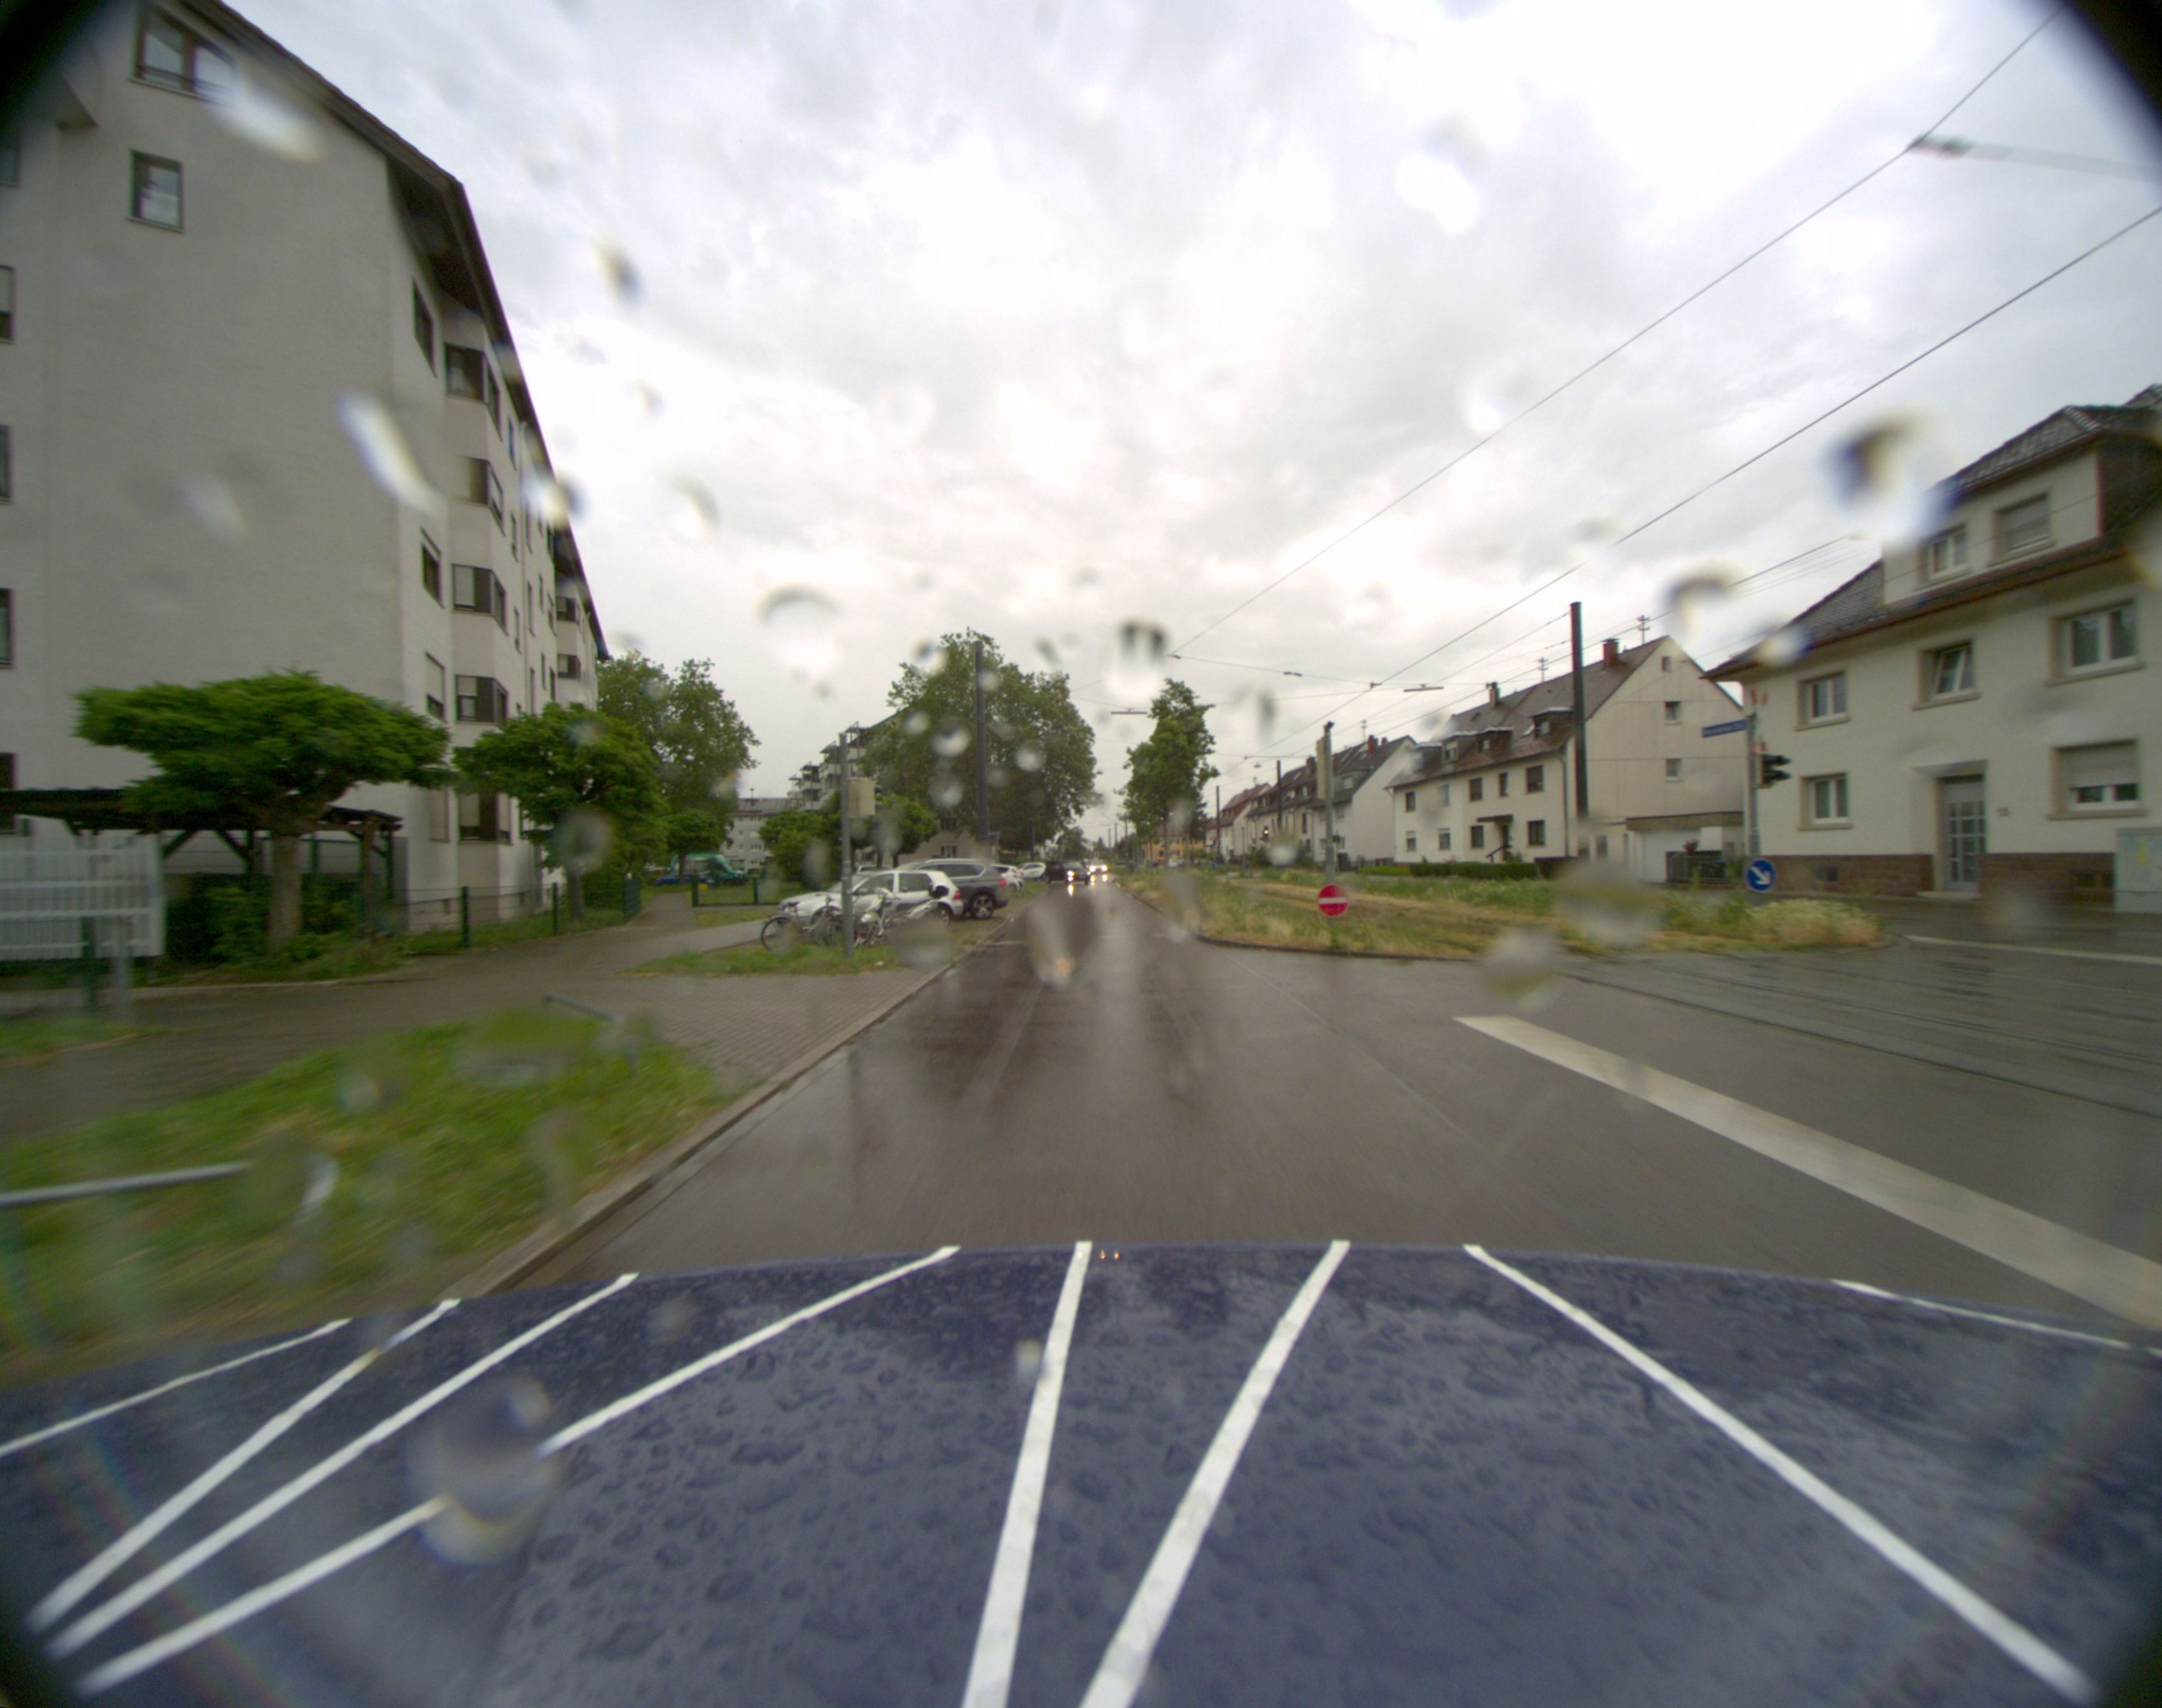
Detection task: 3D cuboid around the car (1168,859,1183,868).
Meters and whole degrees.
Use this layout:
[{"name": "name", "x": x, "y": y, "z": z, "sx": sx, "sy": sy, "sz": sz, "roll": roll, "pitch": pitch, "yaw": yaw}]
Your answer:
[{"name": "car", "x": 15.167, "y": 1.485, "z": 121.843, "sx": 1.715, "sy": 1.431, "sz": 3.999, "roll": 0, "pitch": 0, "yaw": -2}]

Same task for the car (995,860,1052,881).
[{"name": "car", "x": -4.609, "y": 1.290, "z": 60.766, "sx": 4.125, "sy": 1.500, "sz": 1.851, "roll": -2, "pitch": 0, "yaw": -26}]

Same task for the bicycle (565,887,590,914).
[{"name": "bicycle", "x": -17.363, "y": 1.600, "z": 26.228, "sx": 0.491, "sy": 0.843, "sz": 1.569, "roll": -1, "pitch": 0, "yaw": -25}]

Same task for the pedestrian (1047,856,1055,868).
[{"name": "pedestrian", "x": -4.341, "y": 1.134, "z": 109.873, "sx": 0.866, "sy": 1.764, "sz": 1.017, "roll": -1, "pitch": 0, "yaw": -22}]

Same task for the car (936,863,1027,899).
[{"name": "car", "x": -4.687, "y": 1.235, "z": 36.077, "sx": 4.008, "sy": 1.499, "sz": 1.700, "roll": 0, "pitch": 2, "yaw": -38}]

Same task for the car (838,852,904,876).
[{"name": "car", "x": -15.369, "y": 0.713, "z": 55.818, "sx": 4.303, "sy": 1.671, "sz": 1.871, "roll": -1, "pitch": 0, "yaw": 2}]

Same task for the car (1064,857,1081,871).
[{"name": "car", "x": -1.023, "y": 1.197, "z": 88.796, "sx": 1.905, "sy": 1.565, "sz": 4.111, "roll": -1, "pitch": 0, "yaw": -2}]

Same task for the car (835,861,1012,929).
[{"name": "car", "x": -4.266, "y": 1.041, "z": 20.756, "sx": 4.357, "sy": 1.641, "sz": 1.853, "roll": -1, "pitch": 0, "yaw": -32}]

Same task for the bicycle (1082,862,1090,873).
[{"name": "bicycle", "x": 0.472, "y": 1.277, "z": 72.902, "sx": 0.710, "sy": 1.031, "sz": 2.098, "roll": -1, "pitch": 0, "yaw": -1}]

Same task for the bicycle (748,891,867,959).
[{"name": "bicycle", "x": -4.942, "y": 1.252, "z": 13.820, "sx": 1.961, "sy": 1.095, "sz": 0.627, "roll": 0, "pitch": -1, "yaw": -45}]

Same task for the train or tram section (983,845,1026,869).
[{"name": "train or tram section", "x": -11.184, "y": 0.470, "z": 110.514, "sx": 2.763, "sy": 3.320, "sz": 6.382, "roll": -1, "pitch": 0, "yaw": -45}]

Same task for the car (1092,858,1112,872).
[{"name": "car", "x": 2.236, "y": 1.144, "z": 81.751, "sx": 1.854, "sy": 1.500, "sz": 4.120, "roll": 0, "pitch": 0, "yaw": -2}]

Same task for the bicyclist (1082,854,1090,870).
[{"name": "bicyclist", "x": 0.461, "y": 0.805, "z": 72.894, "sx": 0.710, "sy": 1.503, "sz": 0.715, "roll": -1, "pitch": 0, "yaw": -2}]

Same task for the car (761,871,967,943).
[{"name": "car", "x": -4.832, "y": 1.104, "z": 17.160, "sx": 4.133, "sy": 1.414, "sz": 1.734, "roll": 0, "pitch": -1, "yaw": -35}]

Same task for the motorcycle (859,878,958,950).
[{"name": "motorcycle", "x": -3.415, "y": 1.153, "z": 15.102, "sx": 1.783, "sy": 1.328, "sz": 0.687, "roll": 0, "pitch": 0, "yaw": -35}]

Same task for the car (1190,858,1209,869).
[{"name": "car", "x": 15.326, "y": 1.241, "z": 98.047, "sx": 1.777, "sy": 1.417, "sz": 3.937, "roll": 0, "pitch": 0, "yaw": -1}]

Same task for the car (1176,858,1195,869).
[{"name": "car", "x": 15.182, "y": 1.353, "z": 110.658, "sx": 1.892, "sy": 1.522, "sz": 4.756, "roll": 0, "pitch": 0, "yaw": -2}]

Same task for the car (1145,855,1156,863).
[{"name": "car", "x": 14.930, "y": 1.151, "z": 163.138, "sx": 1.998, "sy": 1.648, "sz": 4.000, "roll": -2, "pitch": 0, "yaw": 1}]

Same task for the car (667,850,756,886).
[{"name": "car", "x": -29.765, "y": 1.152, "z": 61.321, "sx": 6.133, "sy": 2.762, "sz": 2.188, "roll": -1, "pitch": 0, "yaw": 2}]

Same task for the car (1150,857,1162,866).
[{"name": "car", "x": 14.703, "y": 1.449, "z": 149.549, "sx": 1.912, "sy": 1.581, "sz": 4.000, "roll": -1, "pitch": 0, "yaw": -1}]

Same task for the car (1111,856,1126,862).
[{"name": "car", "x": 10.575, "y": 1.472, "z": 214.864, "sx": 3.998, "sy": 1.637, "sz": 1.893, "roll": 0, "pitch": 0, "yaw": -4}]

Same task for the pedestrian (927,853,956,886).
[{"name": "pedestrian", "x": -7.780, "y": 0.861, "z": 42.451, "sx": 1.101, "sy": 1.803, "sz": 1.435, "roll": -1, "pitch": 0, "yaw": 11}]

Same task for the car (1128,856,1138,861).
[{"name": "car", "x": 13.335, "y": 1.169, "z": 196.084, "sx": 2.097, "sy": 1.423, "sz": 4.077, "roll": -1, "pitch": 0, "yaw": -2}]

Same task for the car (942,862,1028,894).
[{"name": "car", "x": -4.941, "y": 1.187, "z": 39.274, "sx": 4.007, "sy": 1.499, "sz": 1.779, "roll": 0, "pitch": 2, "yaw": -35}]

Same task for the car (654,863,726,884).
[{"name": "car", "x": -28.603, "y": 1.410, "z": 55.646, "sx": 4.303, "sy": 1.497, "sz": 1.937, "roll": -1, "pitch": 0, "yaw": 2}]
